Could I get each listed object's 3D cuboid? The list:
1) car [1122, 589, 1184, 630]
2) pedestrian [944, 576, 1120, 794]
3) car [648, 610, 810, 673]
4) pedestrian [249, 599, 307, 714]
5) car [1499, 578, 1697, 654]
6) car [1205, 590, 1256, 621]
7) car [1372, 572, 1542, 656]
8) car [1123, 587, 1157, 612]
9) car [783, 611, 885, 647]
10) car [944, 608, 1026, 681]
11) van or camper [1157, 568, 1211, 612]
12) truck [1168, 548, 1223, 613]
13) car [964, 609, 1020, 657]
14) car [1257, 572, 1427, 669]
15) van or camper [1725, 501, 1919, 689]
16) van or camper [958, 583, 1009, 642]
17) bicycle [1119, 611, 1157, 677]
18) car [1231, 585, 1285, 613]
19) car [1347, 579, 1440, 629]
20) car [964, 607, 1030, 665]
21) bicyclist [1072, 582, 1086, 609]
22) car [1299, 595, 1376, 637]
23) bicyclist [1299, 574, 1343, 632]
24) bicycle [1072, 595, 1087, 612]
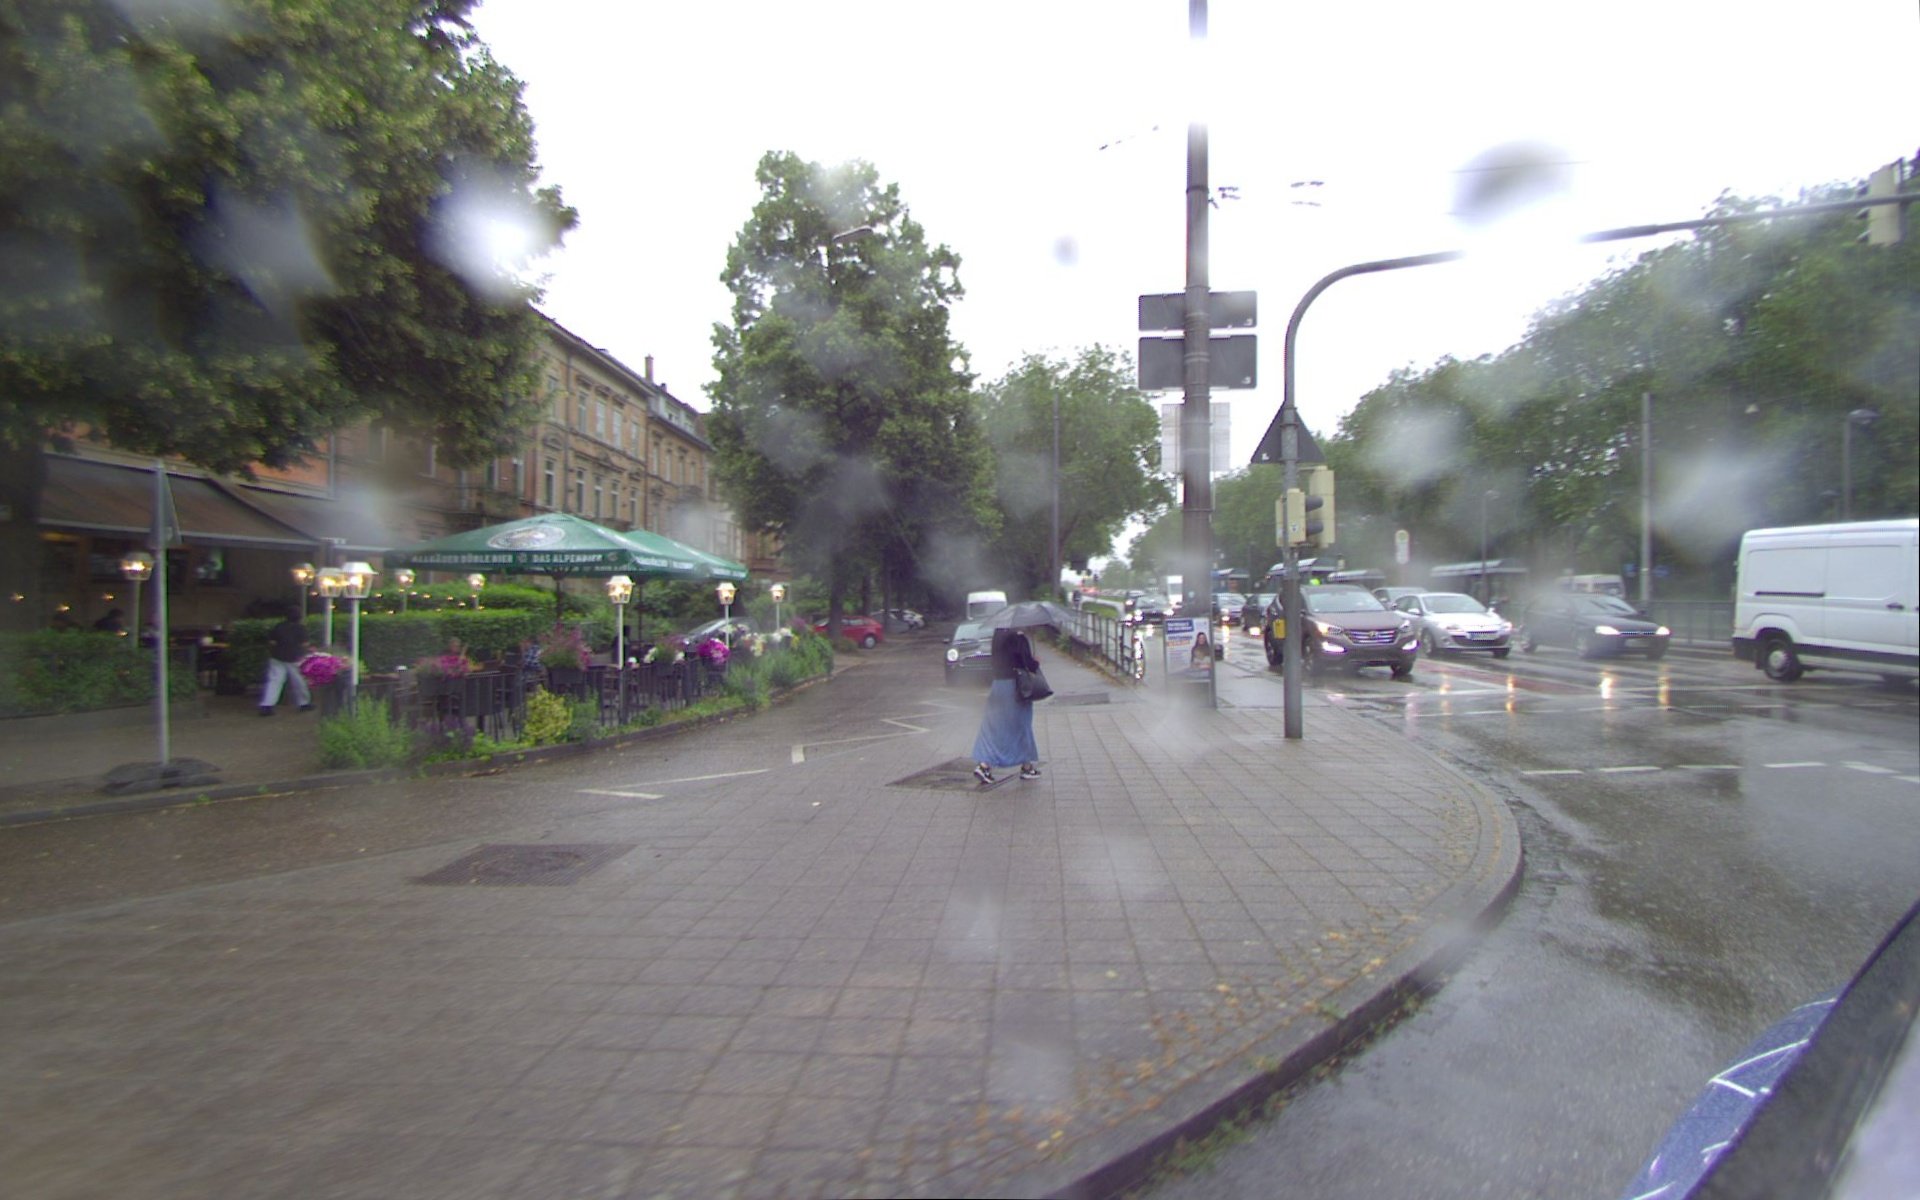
[{"bbox_3d":[8.541,0.427,45.096,1.942,1.709,4.689,-1,-1,2],"label":"car"},{"bbox_3d":[0.598,0.660,8.579,0.979,1.688,1.105,0,-1,-36],"label":"pedestrian"},{"bbox_3d":[-6.303,1.086,27.740,3.922,1.527,1.861,-1,-1,-33],"label":"car"},{"bbox_3d":[-10.090,0.824,14.985,0.541,1.666,0.388,1,-1,5],"label":"pedestrian"},{"bbox_3d":[14.363,0.355,23.133,1.754,1.532,4.552,-1,-1,3],"label":"car"},{"bbox_3d":[12.728,0.270,47.795,1.608,1.375,4.240,-1,-1,5],"label":"car"},{"bbox_3d":[11.527,0.330,23.840,1.940,1.764,4.264,-1,-1,2],"label":"car"},{"bbox_3d":[13.911,-0.047,78.516,1.963,1.780,3.998,-2,1,2],"label":"car"},{"bbox_3d":[-5.628,1.284,45.407,4.200,1.488,1.711,0,-1,-28],"label":"car"},{"bbox_3d":[0.646,0.976,23.367,1.623,1.519,3.511,-2,-1,5],"label":"car"},{"bbox_3d":[13.446,-0.548,61.179,2.105,2.531,5.709,-1,-1,2],"label":"van or camper"},{"bbox_3d":[16.954,-1.301,73.220,2.375,4.331,8.344,-1,-1,3],"label":"truck"},{"bbox_3d":[1.136,1.062,33.991,1.701,1.488,4.211,-1,-1,4],"label":"car"},{"bbox_3d":[7.433,0.385,20.238,1.880,1.668,4.674,-1,-1,4],"label":"car"},{"bbox_3d":[13.891,-0.073,14.135,2.143,2.502,5.963,-1,0,4],"label":"van or camper"},{"bbox_3d":[1.187,0.609,48.471,2.291,2.624,6.091,-1,-1,3],"label":"van or camper"},{"bbox_3d":[3.395,0.813,19.385,0.415,1.183,1.791,-3,-1,2],"label":"bicycle"},{"bbox_3d":[16.538,-0.029,56.364,1.879,1.426,4.187,-1,-1,2],"label":"car"},{"bbox_3d":[15.437,0.144,36.268,1.816,1.655,4.240,-1,-1,5],"label":"car"},{"bbox_3d":[1.089,0.971,28.892,1.720,1.482,4.211,-1,-1,3],"label":"car"},{"bbox_3d":[7.441,-0.265,63.304,0.724,1.677,0.877,0,-1,-1],"label":"bicyclist"},{"bbox_3d":[16.233,0.681,43.746,1.879,1.668,4.187,-1,-1,2],"label":"car"},{"bbox_3d":[9.702,0.073,27.221,0.912,1.488,0.804,-2,0,7],"label":"bicyclist"},{"bbox_3d":[7.461,0.224,63.239,0.726,1.086,1.866,0,-1,-1],"label":"bicycle"}]
